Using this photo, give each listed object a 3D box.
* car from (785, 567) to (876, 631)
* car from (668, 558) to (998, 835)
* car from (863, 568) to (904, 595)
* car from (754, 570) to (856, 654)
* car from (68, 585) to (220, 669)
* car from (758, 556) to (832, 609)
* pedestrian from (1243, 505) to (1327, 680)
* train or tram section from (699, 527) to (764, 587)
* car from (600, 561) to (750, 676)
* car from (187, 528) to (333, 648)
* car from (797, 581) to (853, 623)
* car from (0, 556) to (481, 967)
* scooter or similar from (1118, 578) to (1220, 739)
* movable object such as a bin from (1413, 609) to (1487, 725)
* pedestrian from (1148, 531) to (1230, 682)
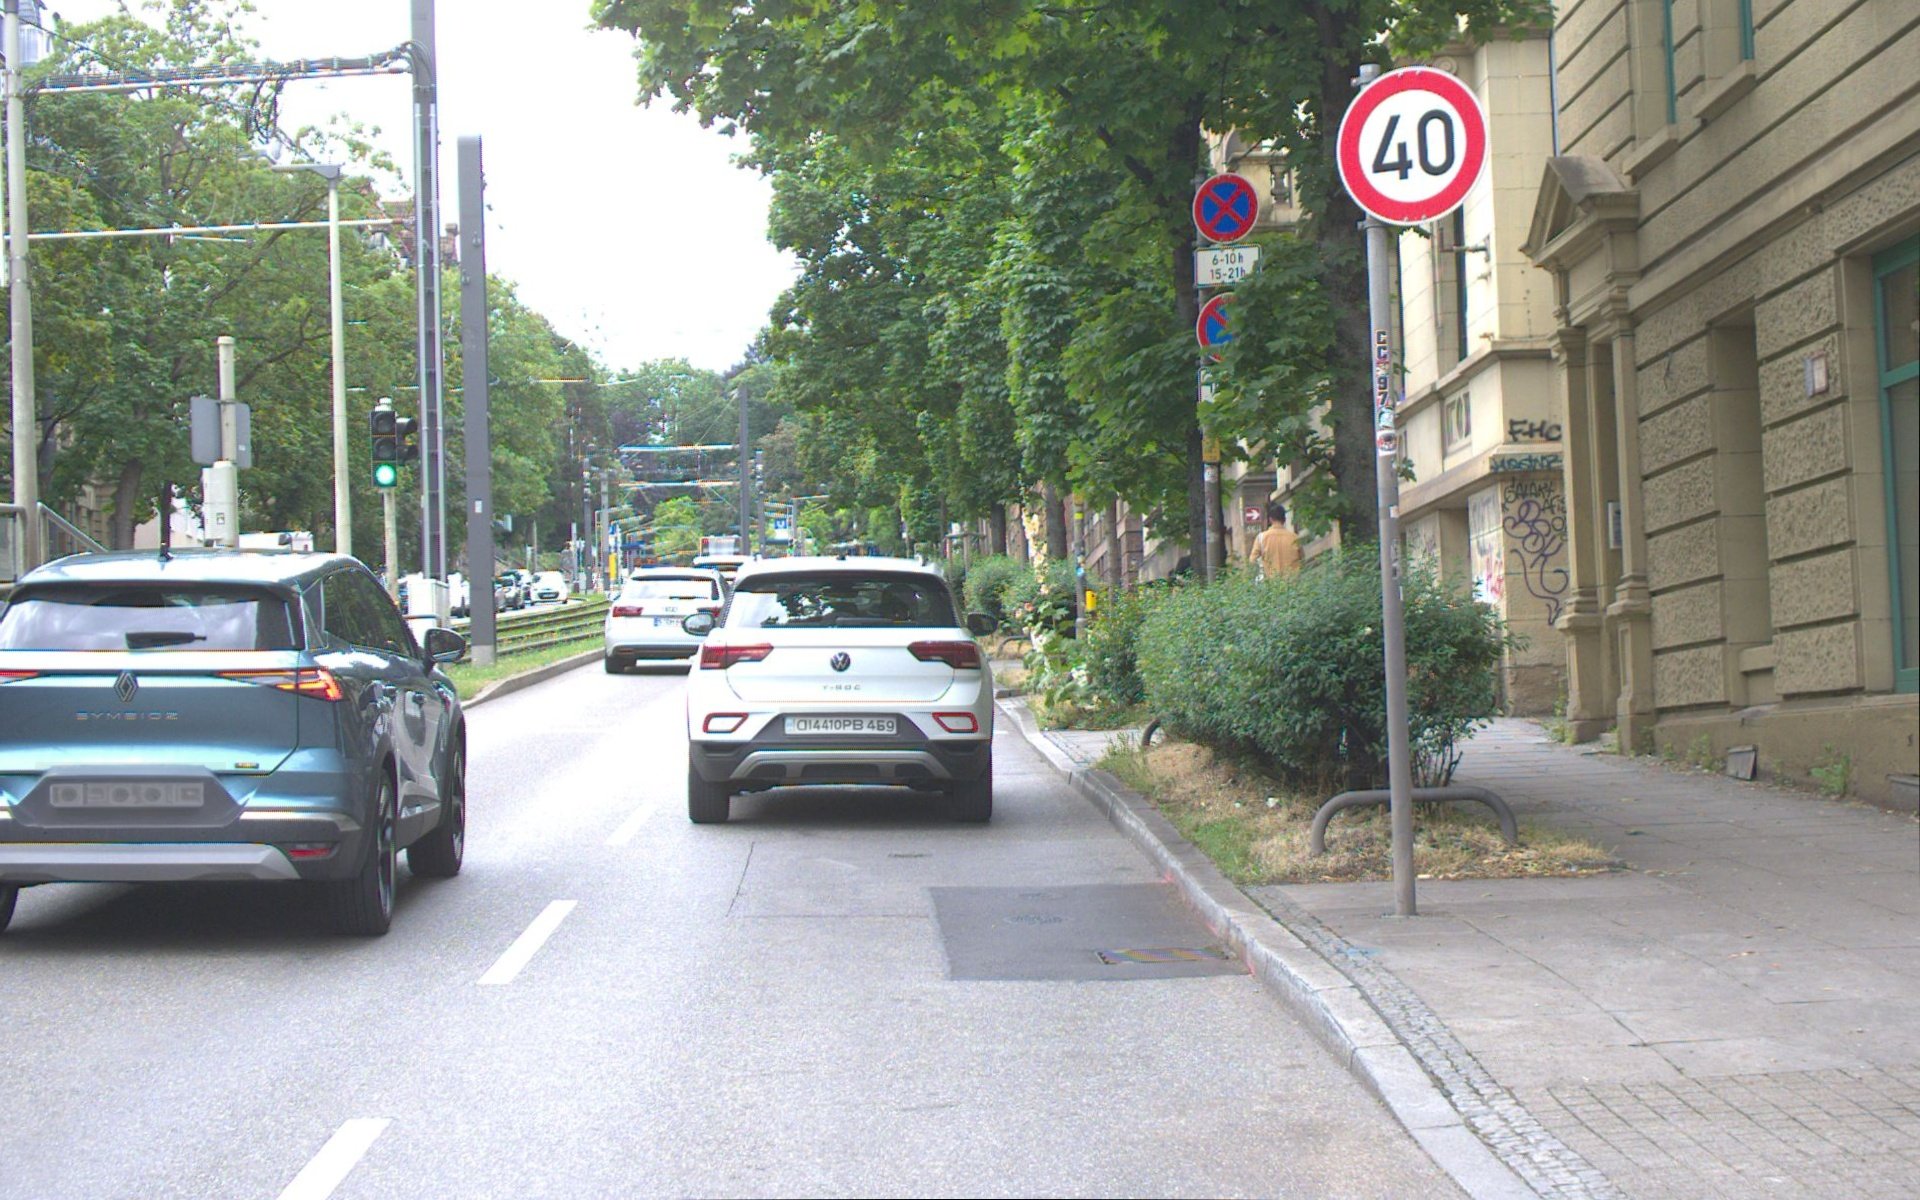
[{"bbox_3d":[-3.258,-0.031,85.734,2.068,1.541,4.194,0,0,-5],"label":"car"},{"bbox_3d":[-0.792,0.531,21.225,1.835,1.541,4.194,0,0,-2],"label":"car"},{"bbox_3d":[-4.374,-1.044,197.065,2.068,1.541,4.194,0,0,-5],"label":"car"},{"bbox_3d":[-2.909,0.223,65.204,1.835,1.541,4.193,0,0,-1],"label":"car"},{"bbox_3d":[-14.403,0.458,60.813,1.577,1.373,3.654,-2,1,4],"label":"car"},{"bbox_3d":[-4.928,-0.525,102.208,2.068,1.541,4.194,0,0,-4],"label":"car"},{"bbox_3d":[3.512,-0.079,37.227,0.685,1.823,1.121,-3,0,-1],"label":"pedestrian"},{"bbox_3d":[-13.561,-2.515,204.706,2.996,3.337,13.439,-1,0,0],"label":"train or tram section"},{"bbox_3d":[-3.970,0.242,48.383,1.835,1.541,4.193,0,0,-1],"label":"car"},{"bbox_3d":[-16.955,-0.296,83.599,2.392,2.690,6.519,-3,0,-3],"label":"car"},{"bbox_3d":[-5.116,0.067,129.786,2.068,1.541,4.194,0,0,-3],"label":"car"},{"bbox_3d":[-3.259,0.599,14.987,1.835,1.541,4.193,0,0,-1],"label":"car"},{"bbox_3d":[1.765,0.482,29.187,0.662,1.299,1.384,-3,0,-2],"label":"scooter or similar"},{"bbox_3d":[4.000,0.544,28.071,0.500,0.916,0.443,-2,1,18],"label":"movable object such as a bin"},{"bbox_3d":[2.467,0.063,37.138,0.685,1.569,1.216,-3,1,-1],"label":"pedestrian"}]
